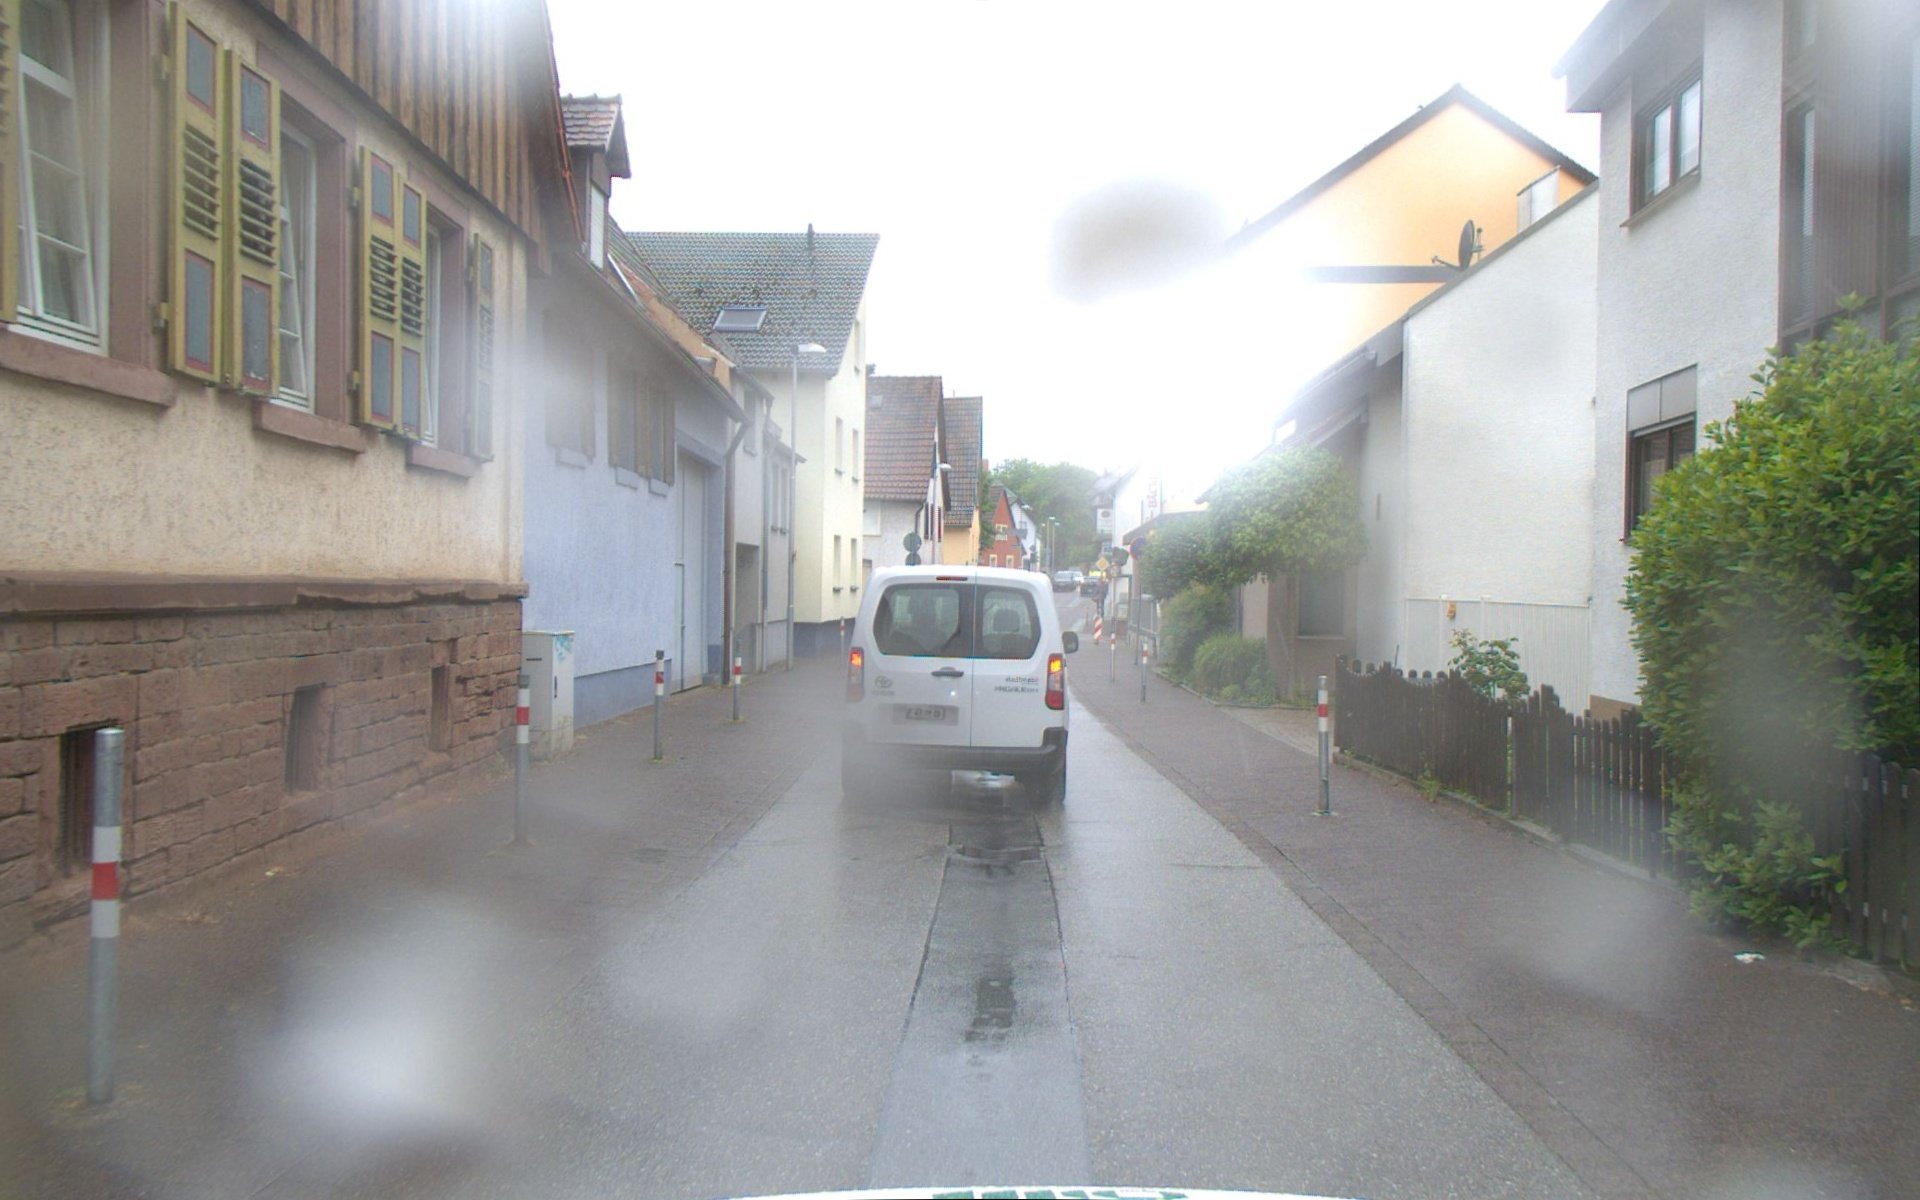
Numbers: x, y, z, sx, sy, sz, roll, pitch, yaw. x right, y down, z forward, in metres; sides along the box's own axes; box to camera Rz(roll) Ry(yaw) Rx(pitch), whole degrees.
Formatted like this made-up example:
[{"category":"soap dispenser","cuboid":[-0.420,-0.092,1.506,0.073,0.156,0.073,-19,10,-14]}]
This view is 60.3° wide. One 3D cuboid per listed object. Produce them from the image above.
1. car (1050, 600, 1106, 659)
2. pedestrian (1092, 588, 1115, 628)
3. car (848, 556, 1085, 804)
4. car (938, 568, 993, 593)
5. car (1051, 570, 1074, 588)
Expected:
[{"category":"car","cuboid":[4.343,1.050,60.563,1.951,2.049,4.002,0,0,4]},{"category":"pedestrian","cuboid":[7.051,0.382,81.357,1.029,1.926,0.877,0,0,1]},{"category":"car","cuboid":[0.103,0.591,14.144,1.738,1.811,4.001,0,0,2]},{"category":"car","cuboid":[0.381,-1.364,117.046,3.373,1.586,1.987,-3,2,-22]},{"category":"car","cuboid":[8.724,-1.781,140.907,1.555,1.466,3.769,2,0,8]}]
